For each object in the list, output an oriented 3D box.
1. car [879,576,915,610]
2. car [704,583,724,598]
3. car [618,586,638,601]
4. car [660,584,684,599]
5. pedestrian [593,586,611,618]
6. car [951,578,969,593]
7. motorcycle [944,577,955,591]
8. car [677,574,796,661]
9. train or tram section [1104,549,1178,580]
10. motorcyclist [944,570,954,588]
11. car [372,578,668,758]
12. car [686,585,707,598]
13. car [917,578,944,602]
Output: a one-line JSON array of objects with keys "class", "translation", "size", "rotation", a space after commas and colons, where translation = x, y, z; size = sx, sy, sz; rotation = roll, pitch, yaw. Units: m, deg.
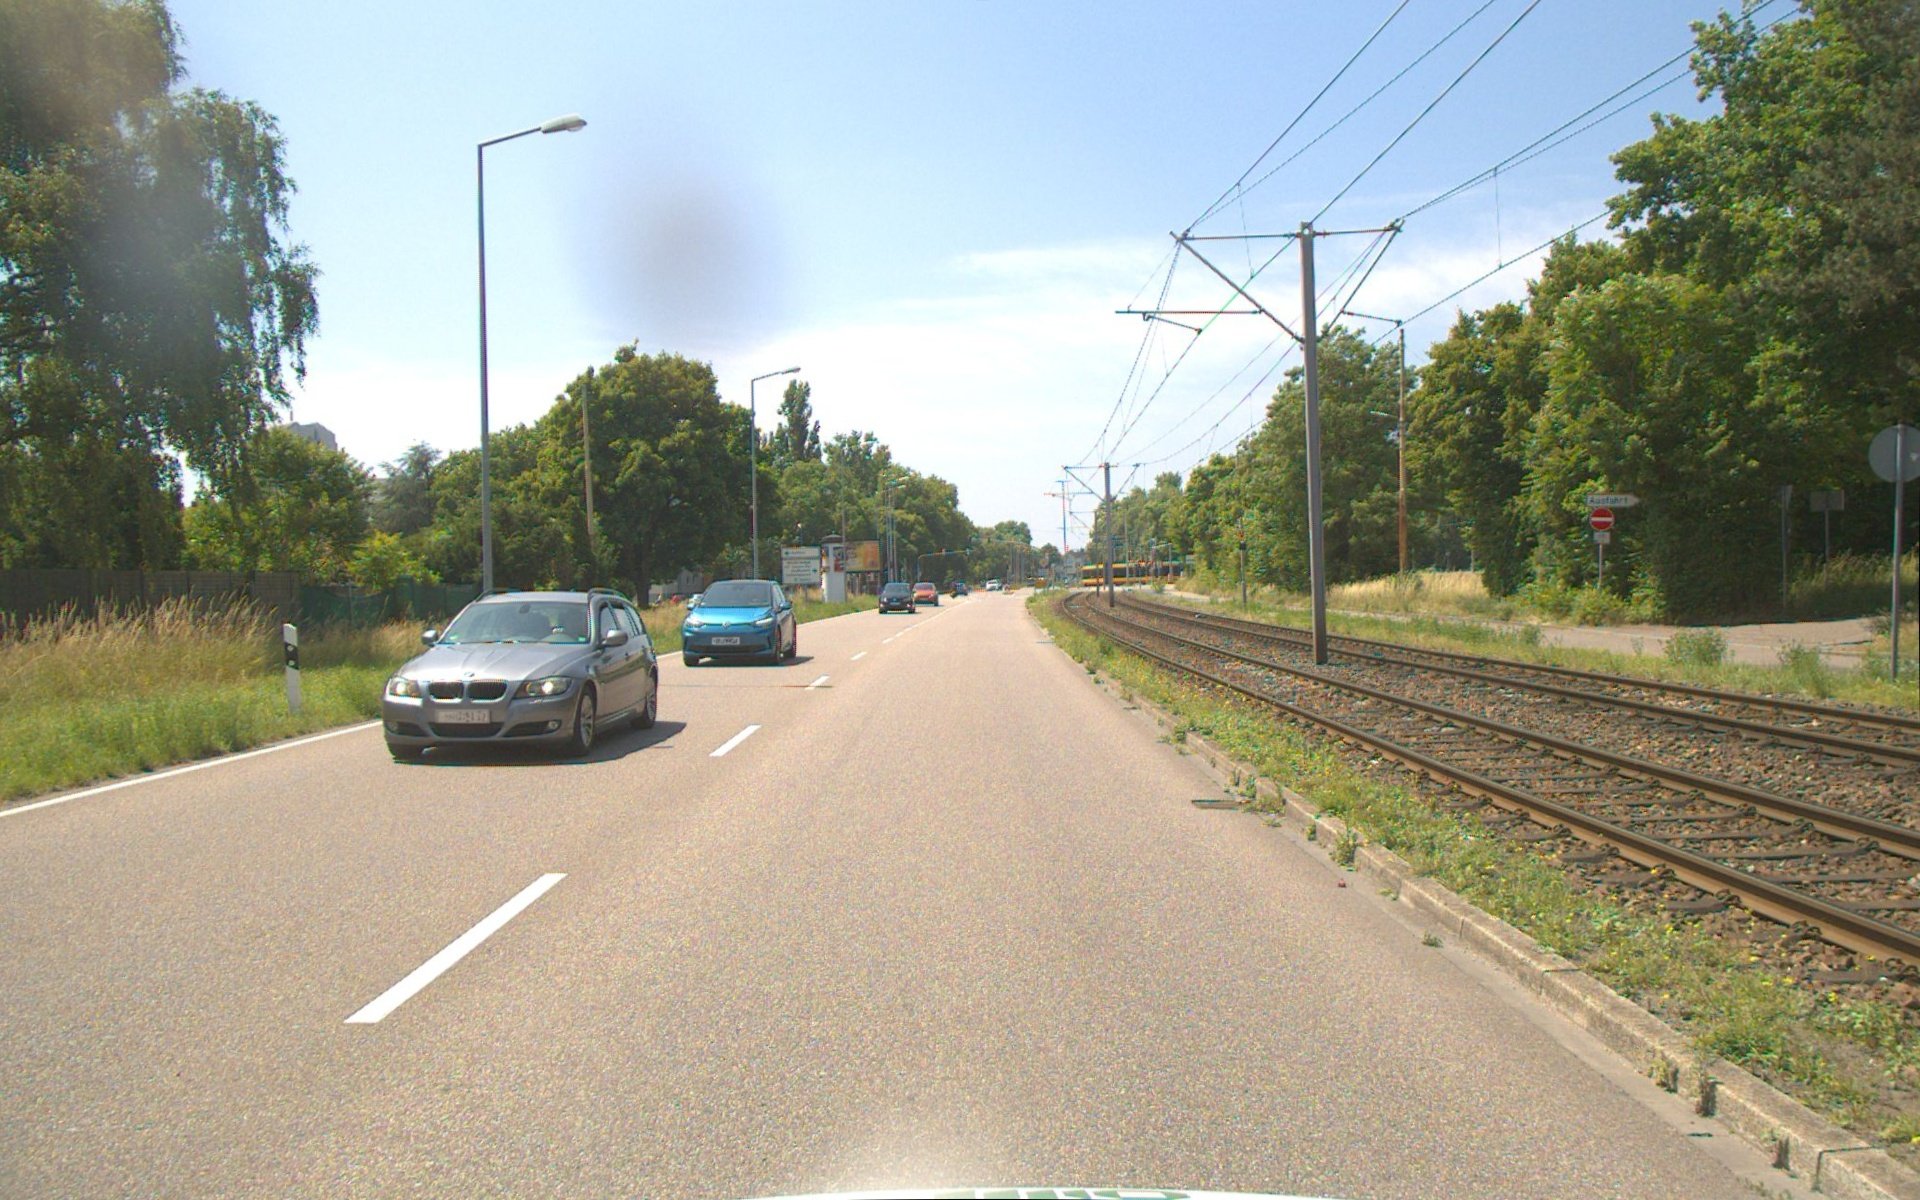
[{"class": "car", "translation": [-3.068, -0.354, 81.079], "size": [1.650, 1.597, 3.967], "rotation": [-1, 1, -1]}, {"class": "car", "translation": [-30.747, -1.224, 206.494], "size": [1.679, 1.832, 3.978], "rotation": [-1, 1, -19]}, {"class": "car", "translation": [-40.895, -0.761, 203.563], "size": [1.818, 1.741, 3.977], "rotation": [-1, -1, -19]}, {"class": "car", "translation": [-35.767, -1.037, 205.093], "size": [1.825, 1.697, 3.965], "rotation": [-3, 0, -27]}, {"class": "pedestrian", "translation": [-15.496, 0.093, 71.565], "size": [0.569, 1.378, 0.799], "rotation": [-1, 1, 0]}, {"class": "car", "translation": [0.018, -1.604, 181.989], "size": [1.867, 1.525, 4.631], "rotation": [-1, 1, 1]}, {"class": "motorcycle", "translation": [-1.007, -1.528, 153.716], "size": [0.829, 1.277, 2.450], "rotation": [-1, 1, 4]}, {"class": "car", "translation": [-4.198, 0.287, 31.610], "size": [1.778, 1.531, 3.999], "rotation": [-1, 1, -1]}, {"class": "train or tram section", "translation": [27.907, -5.511, 256.363], "size": [2.892, 3.988, 13.782], "rotation": [1, -3, -36]}, {"class": "motorcyclist", "translation": [-1.028, -1.920, 153.746], "size": [0.773, 1.671, 1.212], "rotation": [-1, 0, 4]}, {"class": "car", "translation": [-3.996, 0.528, 15.743], "size": [1.721, 1.447, 4.323], "rotation": [-1, 1, -1]}, {"class": "car", "translation": [-32.794, -1.076, 205.685], "size": [1.682, 1.620, 3.971], "rotation": [-1, 1, -23]}, {"class": "car", "translation": [-1.829, -0.659, 102.817], "size": [1.645, 1.423, 3.999], "rotation": [-1, 1, -1]}]
